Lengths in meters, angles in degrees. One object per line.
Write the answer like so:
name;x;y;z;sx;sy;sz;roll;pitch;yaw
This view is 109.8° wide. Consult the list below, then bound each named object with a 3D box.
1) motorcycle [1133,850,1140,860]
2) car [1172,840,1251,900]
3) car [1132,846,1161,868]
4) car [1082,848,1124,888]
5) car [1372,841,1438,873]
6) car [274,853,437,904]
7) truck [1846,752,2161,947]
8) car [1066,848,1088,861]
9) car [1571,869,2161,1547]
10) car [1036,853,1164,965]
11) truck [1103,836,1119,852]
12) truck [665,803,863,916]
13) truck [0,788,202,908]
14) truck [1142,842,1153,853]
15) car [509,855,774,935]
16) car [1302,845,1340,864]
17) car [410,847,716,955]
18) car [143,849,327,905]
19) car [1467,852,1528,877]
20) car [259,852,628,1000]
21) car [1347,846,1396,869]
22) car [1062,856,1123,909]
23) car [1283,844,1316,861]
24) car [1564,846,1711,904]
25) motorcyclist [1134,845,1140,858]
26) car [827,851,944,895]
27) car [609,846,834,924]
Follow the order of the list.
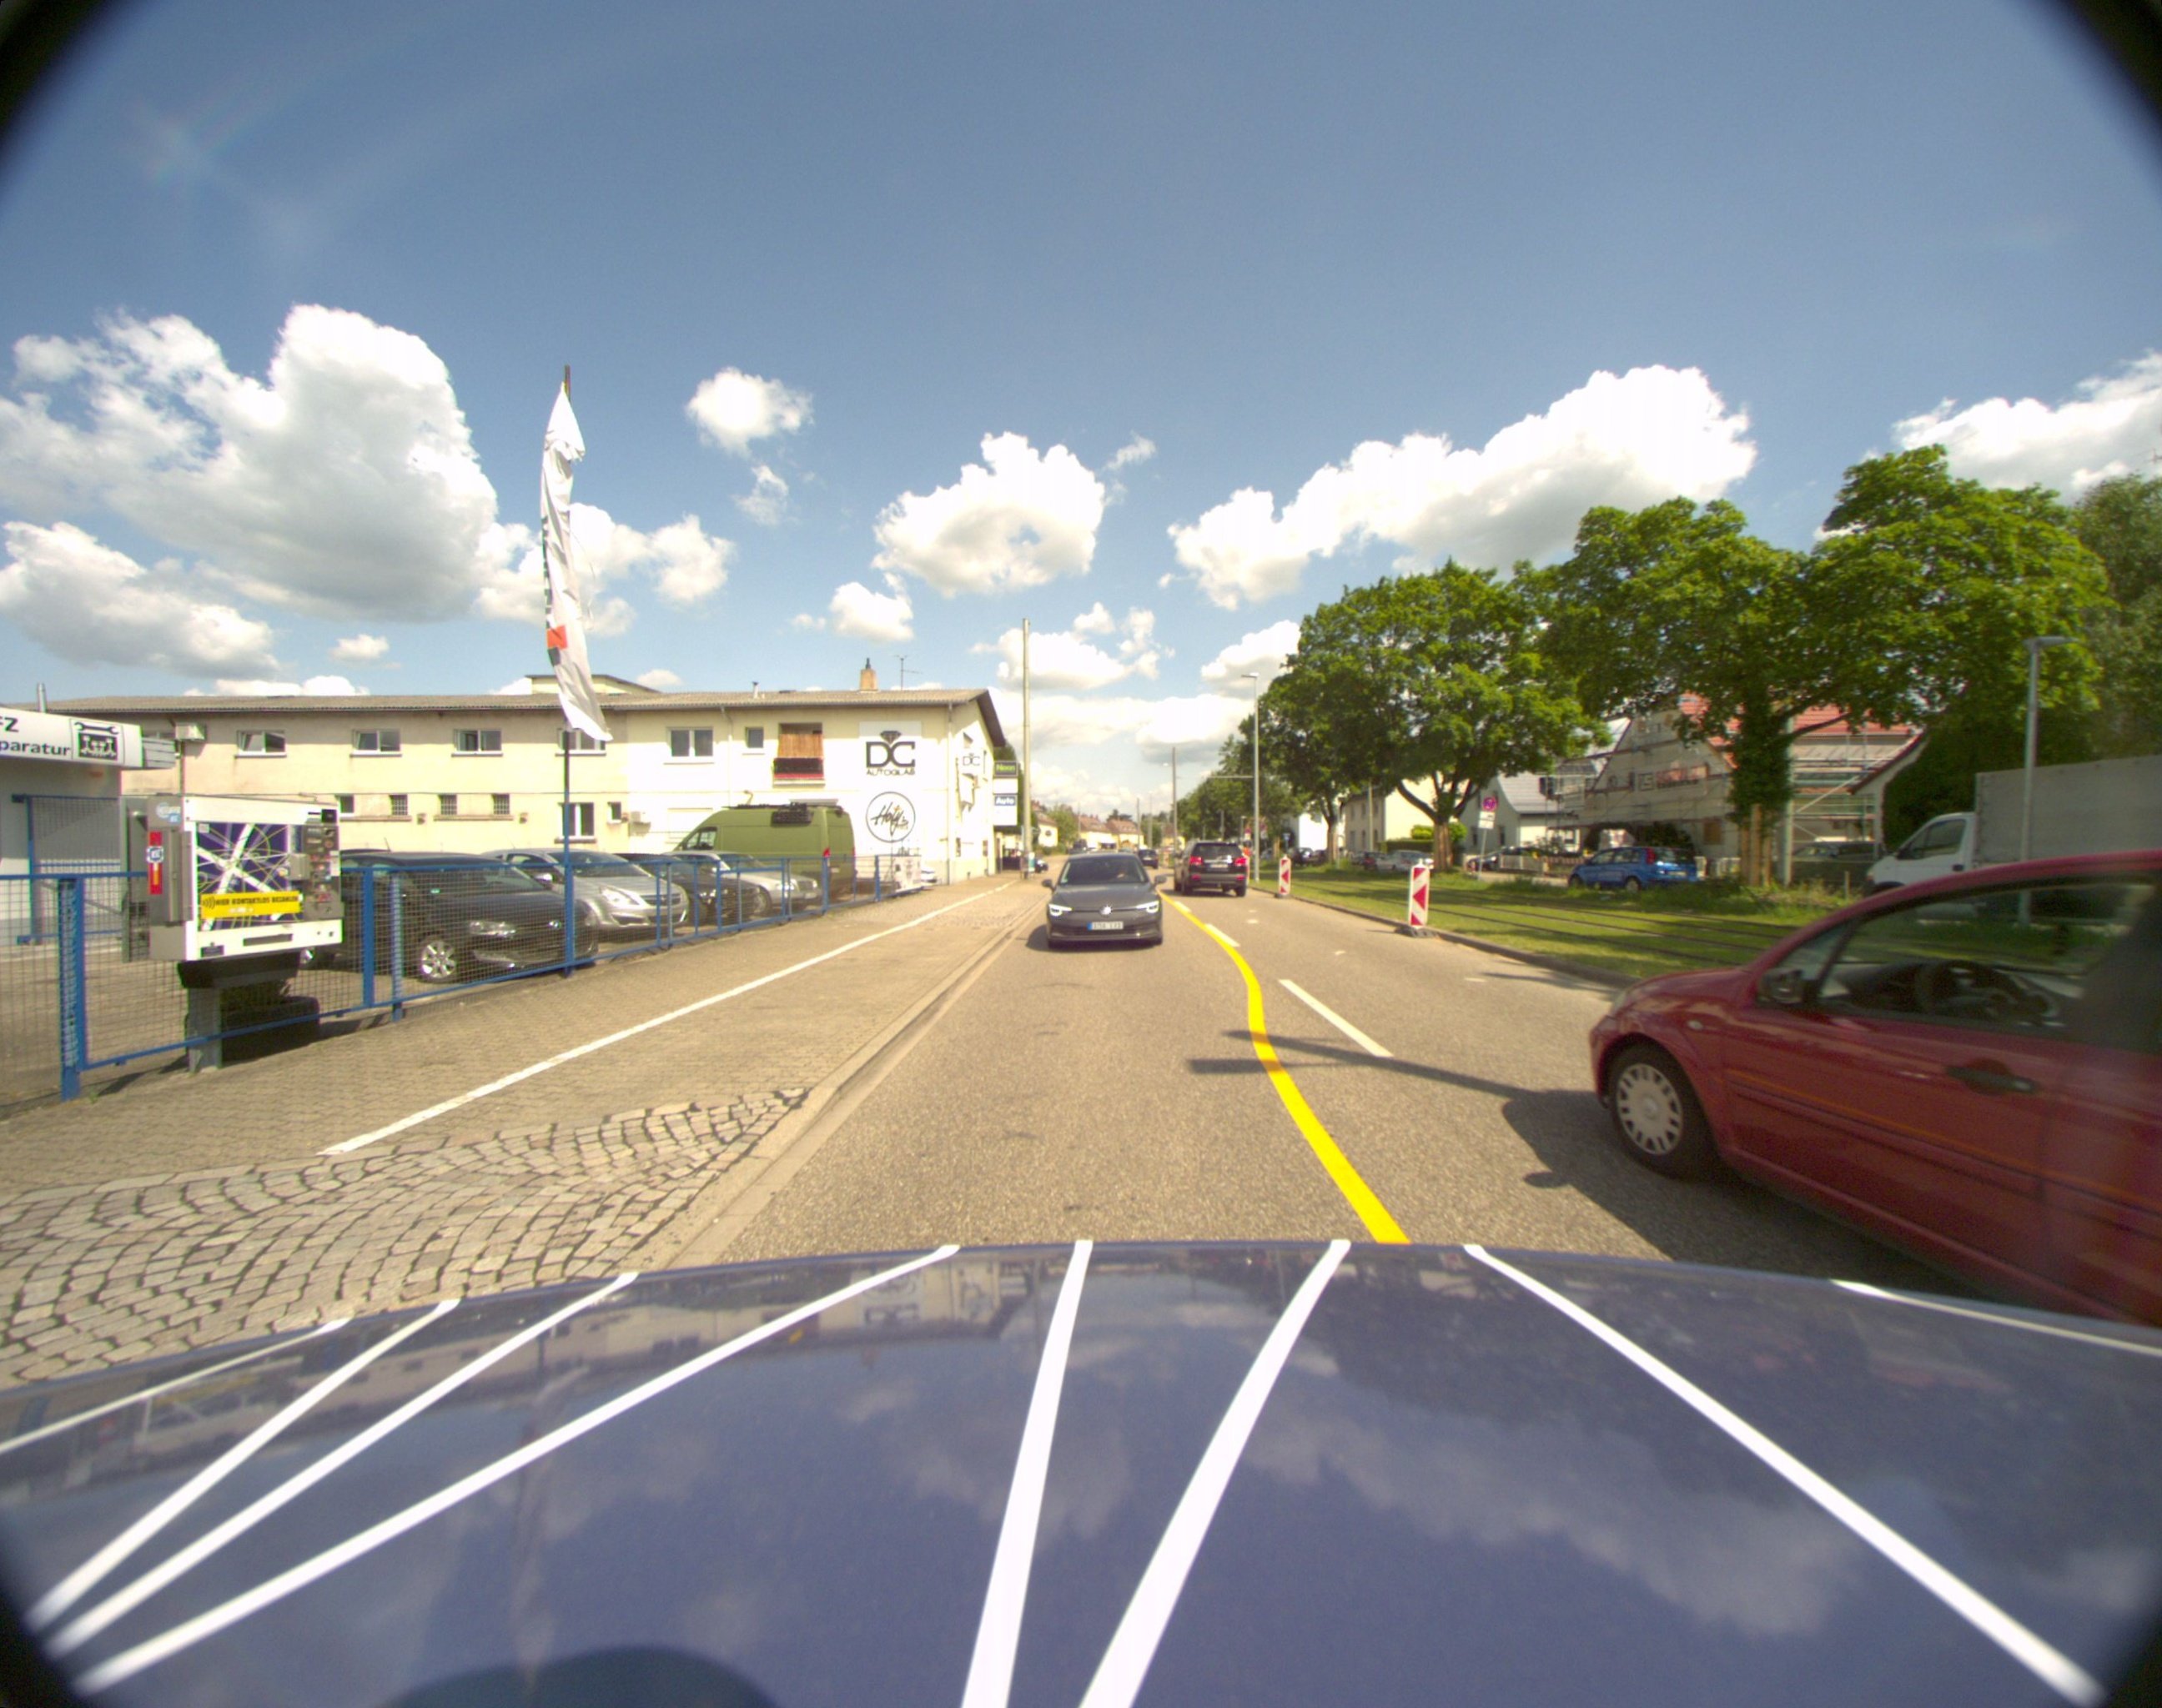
motorcycle;6.022;0.103;82.585;0.706;1.036;2.465;0;2;2
car;3.965;0.424;23.766;1.801;1.680;4.220;1;1;1
car;4.791;0.180;56.036;1.715;1.478;4.525;1;1;0
car;0.911;0.534;31.316;1.594;1.418;3.707;-2;1;2
car;17.315;0.103;40.818;1.707;1.504;4.523;-2;1;2
car;-20.998;0.653;22.173;1.453;1.255;3.276;-2;1;2
truck;16.699;-0.147;12.481;2.370;2.789;5.950;-2;1;2
car;-0.391;0.025;82.961;1.823;1.412;4.002;0;1;8
car;3.241;0.828;2.004;1.582;1.461;3.720;0;1;2
car;0.365;0.775;12.837;1.742;1.410;4.380;-2;1;3
truck;5.580;-1.886;143.312;2.632;2.872;7.922;-2;1;1
truck;-8.238;0.119;20.061;4.181;2.645;2.108;-2;2;3
truck;-27.989;-0.203;20.662;2.158;2.992;5.086;1;1;1
truck;17.406;-1.717;199.000;2.665;2.787;7.539;-2;1;4
car;-8.456;0.769;14.800;4.257;1.366;1.741;-1;2;9
car;17.840;0.000;56.563;1.636;1.294;3.999;-2;1;2
car;-8.417;0.733;12.416;4.254;1.497;1.829;-2;2;18
car;-24.187;0.616;21.906;1.426;1.371;3.327;-2;1;2
car;25.653;0.641;46.806;3.237;1.375;1.490;-2;2;32
car;-7.809;0.757;9.366;3.901;1.455;1.627;1;3;18
car;17.742;0.170;46.561;1.624;1.235;3.786;-2;1;2
car;0.383;0.748;21.631;1.554;1.217;3.729;-2;1;3
car;17.965;-0.146;62.559;1.636;1.294;3.999;-2;1;2
car;16.764;0.570;23.156;1.672;1.504;3.930;-2;1;2
motorcyclist;6.075;-0.296;82.436;0.651;1.434;0.588;0;2;2
car;-6.989;0.667;27.319;3.725;1.350;1.518;-2;2;5
car;-8.068;0.677;17.229;4.257;1.499;1.828;-2;2;9
